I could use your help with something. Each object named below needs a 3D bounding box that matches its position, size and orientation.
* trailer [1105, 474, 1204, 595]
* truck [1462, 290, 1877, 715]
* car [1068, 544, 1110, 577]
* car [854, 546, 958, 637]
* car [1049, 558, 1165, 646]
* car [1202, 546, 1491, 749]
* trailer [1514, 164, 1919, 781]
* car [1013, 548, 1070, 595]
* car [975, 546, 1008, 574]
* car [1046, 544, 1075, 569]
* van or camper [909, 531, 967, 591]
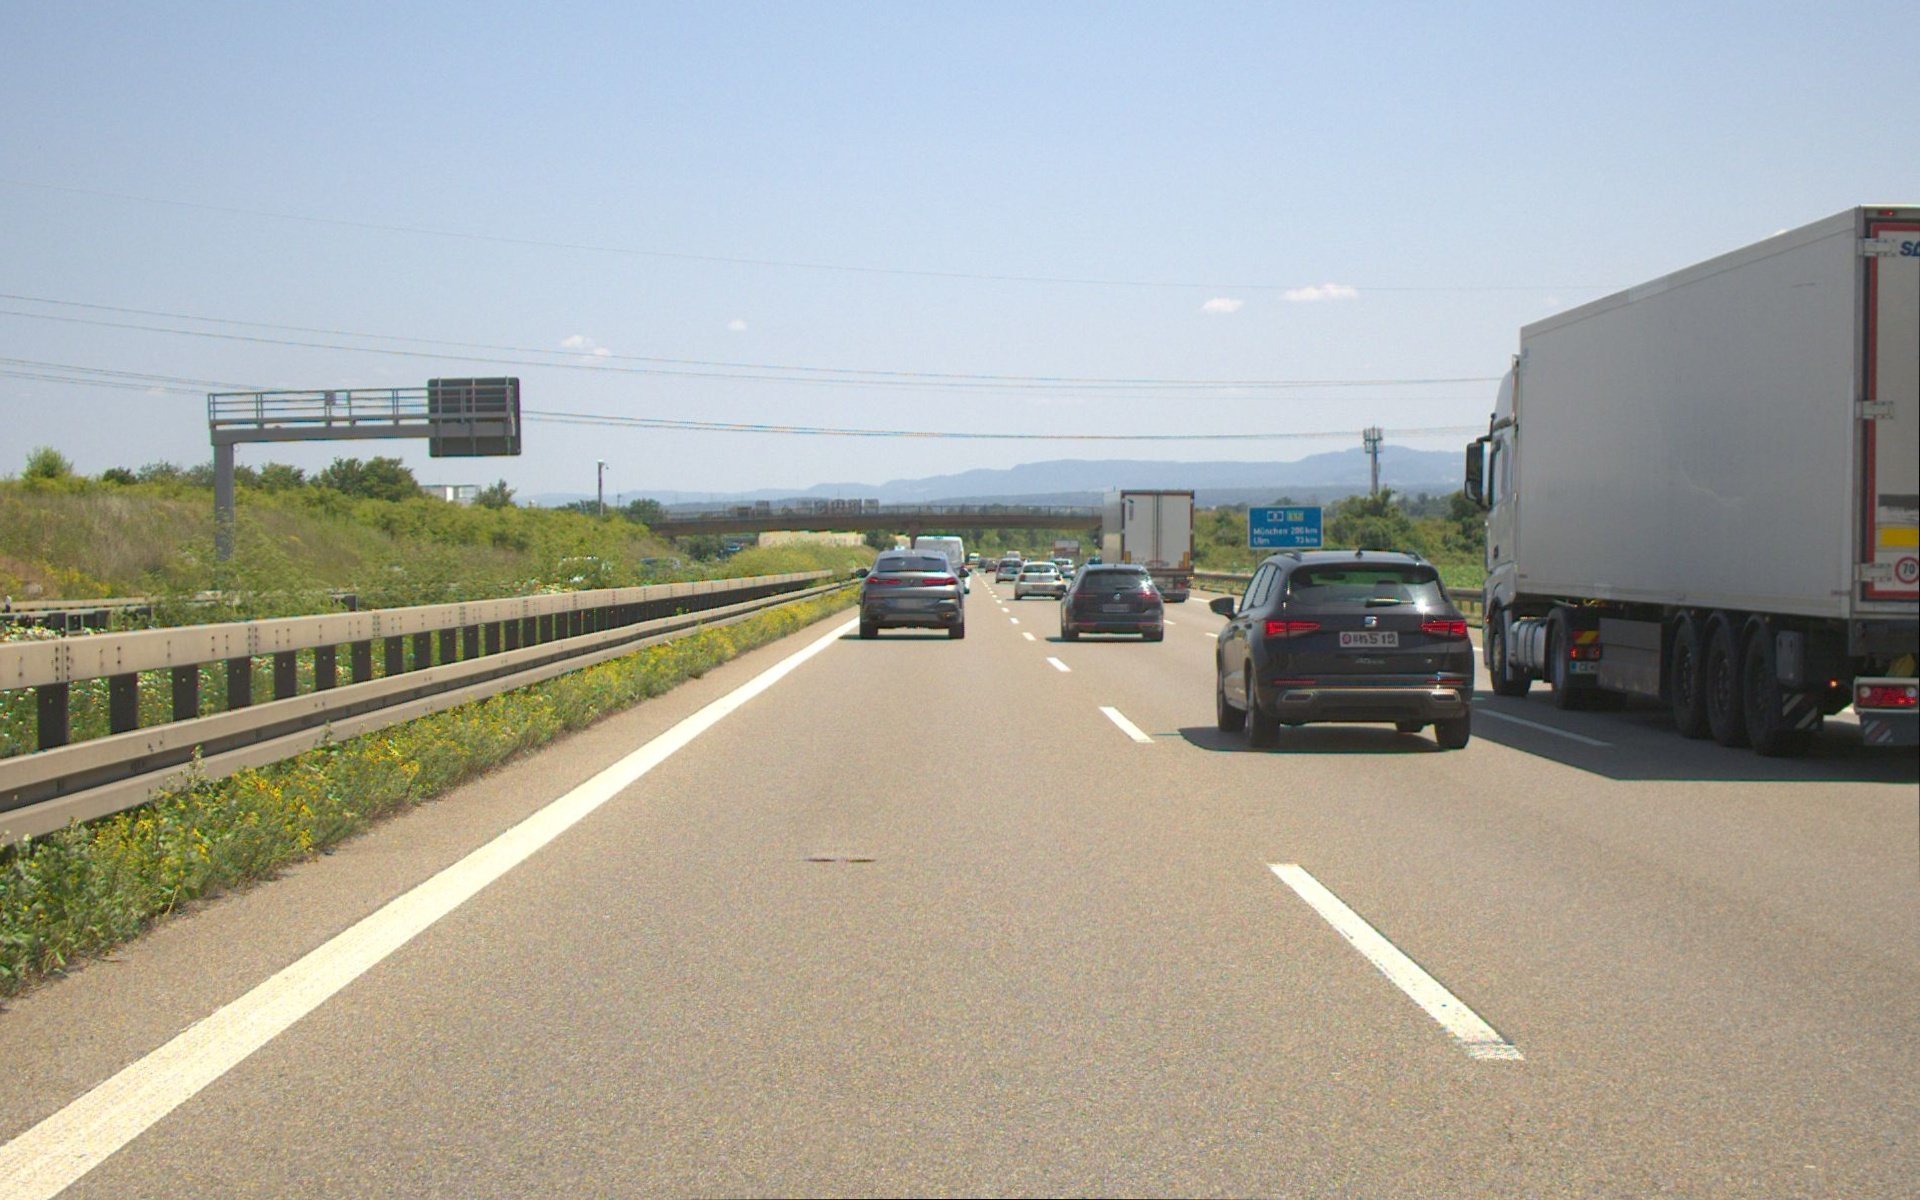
[{"bbox_3d":[7.095,-2.364,127.183,2.943,4.184,13.596,1,0,0],"label":"trailer"},{"bbox_3d":[7.387,-0.976,36.809,2.862,4.077,6.880,1,0,-1],"label":"truck"},{"bbox_3d":[6.707,-2.046,178.950,1.993,1.677,4.000,1,0,0],"label":"car"},{"bbox_3d":[-1.056,-0.171,65.787,1.851,1.658,3.735,1,0,-3],"label":"car"},{"bbox_3d":[2.740,0.016,65.012,1.933,1.569,4.935,1,0,0],"label":"car"},{"bbox_3d":[3.145,0.354,28.681,1.796,1.556,3.824,1,0,-3],"label":"car"},{"bbox_3d":[7.435,-0.913,30.161,2.868,4.205,13.295,1,0,0],"label":"trailer"},{"bbox_3d":[3.008,-1.053,127.489,1.993,1.677,4.000,1,0,0],"label":"car"},{"bbox_3d":[1.963,-2.461,213.335,1.993,1.677,4.000,1,0,0],"label":"car"},{"bbox_3d":[7.202,-3.109,246.160,1.993,1.677,4.000,1,0,0],"label":"car"},{"bbox_3d":[-0.807,-1.476,129.896,2.110,2.204,5.265,1,0,0],"label":"van or camper"}]
